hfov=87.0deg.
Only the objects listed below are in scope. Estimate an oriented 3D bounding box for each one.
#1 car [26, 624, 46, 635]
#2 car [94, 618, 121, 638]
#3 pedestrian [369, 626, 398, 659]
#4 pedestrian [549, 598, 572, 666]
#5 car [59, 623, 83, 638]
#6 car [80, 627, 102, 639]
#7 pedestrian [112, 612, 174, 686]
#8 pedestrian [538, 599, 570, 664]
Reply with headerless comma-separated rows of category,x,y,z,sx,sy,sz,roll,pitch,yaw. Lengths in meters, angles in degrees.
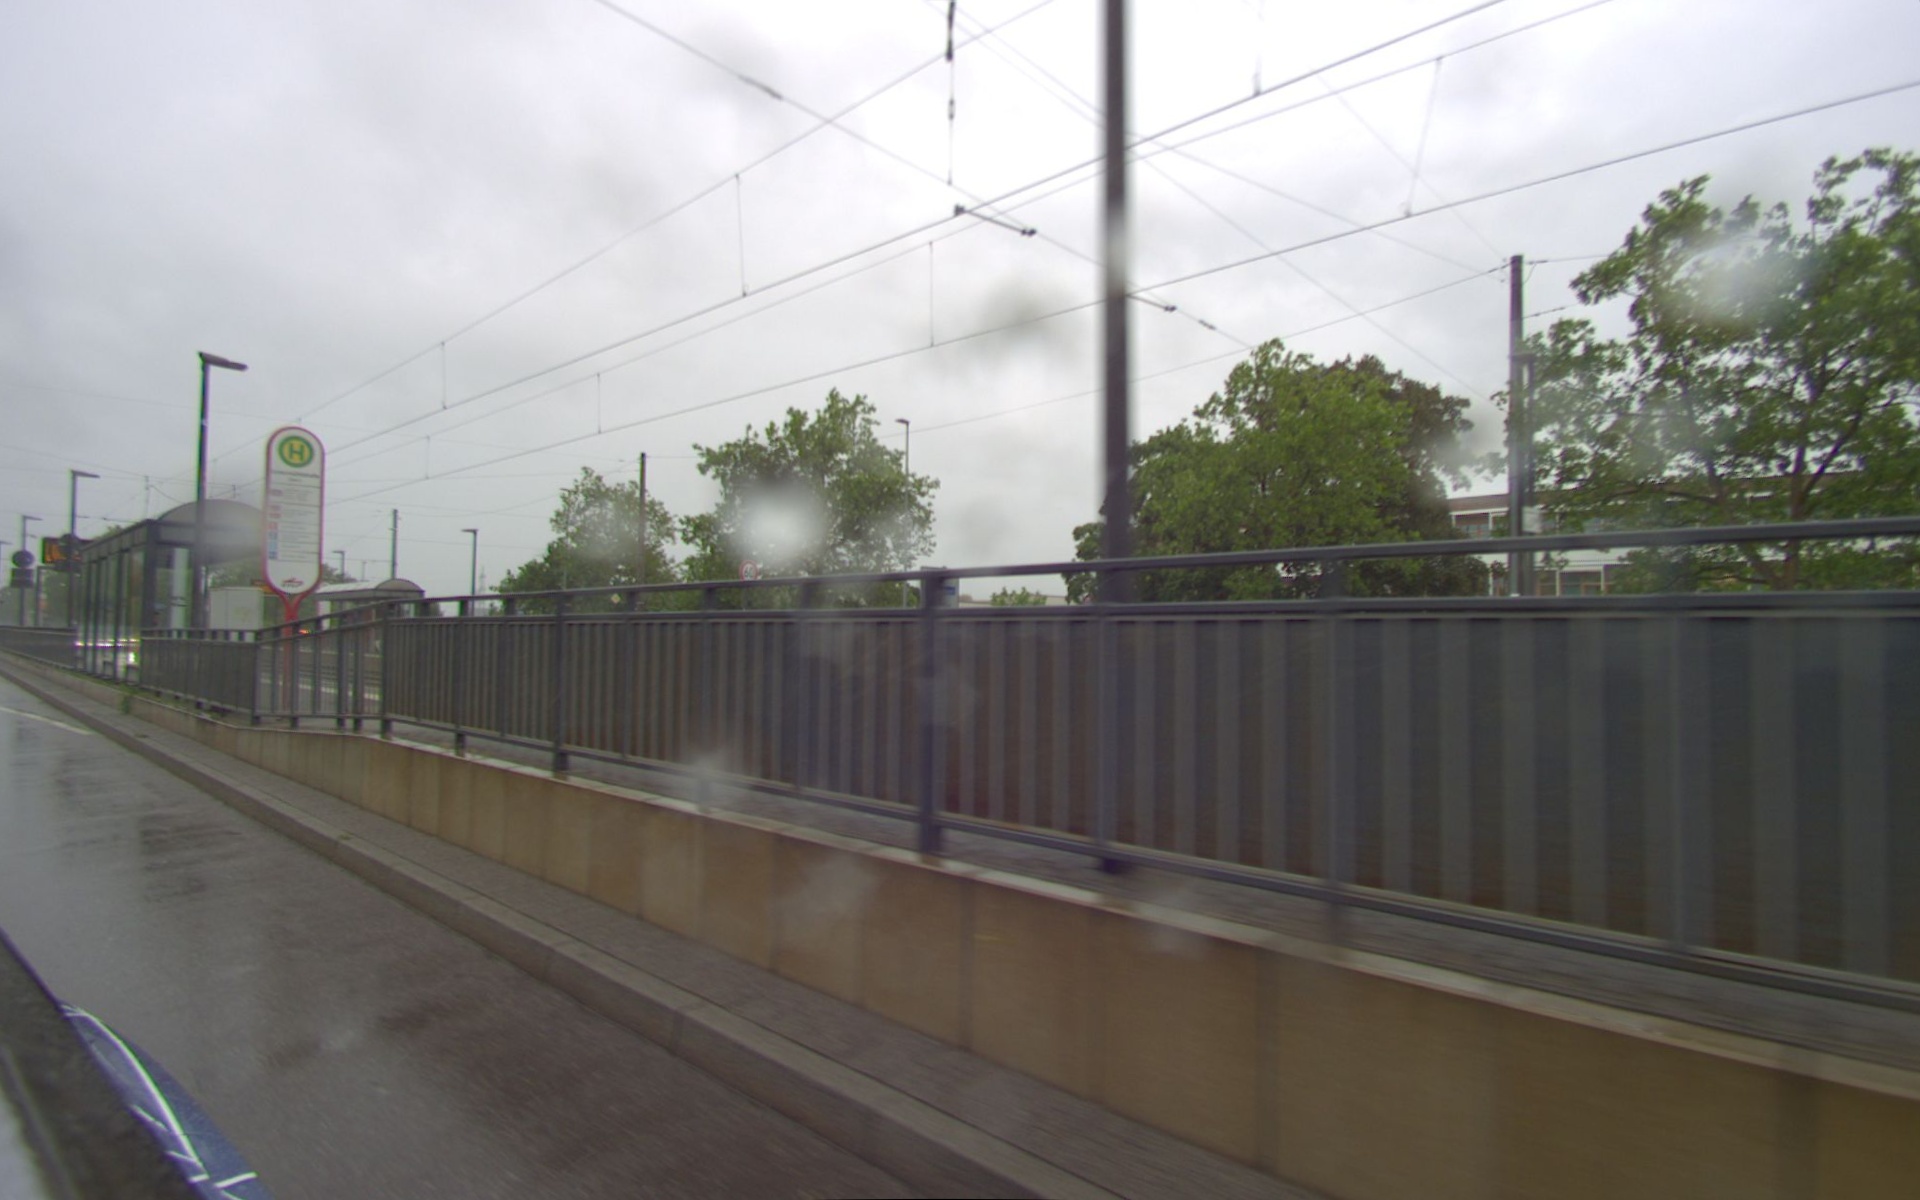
car,-147.718,4.664,161.756,4.259,1.785,1.971,-2,-2,44
car,-114.722,3.774,136.158,5.739,2.733,2.096,-2,-2,44
pedestrian,-23.675,1.741,41.583,0.858,1.326,0.822,-2,-2,44
pedestrian,-24.213,1.941,61.430,1.152,4.059,1.524,1,-2,-19
car,-119.455,4.069,135.976,4.754,2.029,1.971,-2,-2,43
car,-126.569,4.784,147.377,4.626,1.720,1.971,-2,-2,44
pedestrian,-15.396,0.908,19.083,0.659,1.350,0.805,-2,-2,43
pedestrian,-25.637,1.992,63.972,1.515,4.059,1.159,0,-2,33
